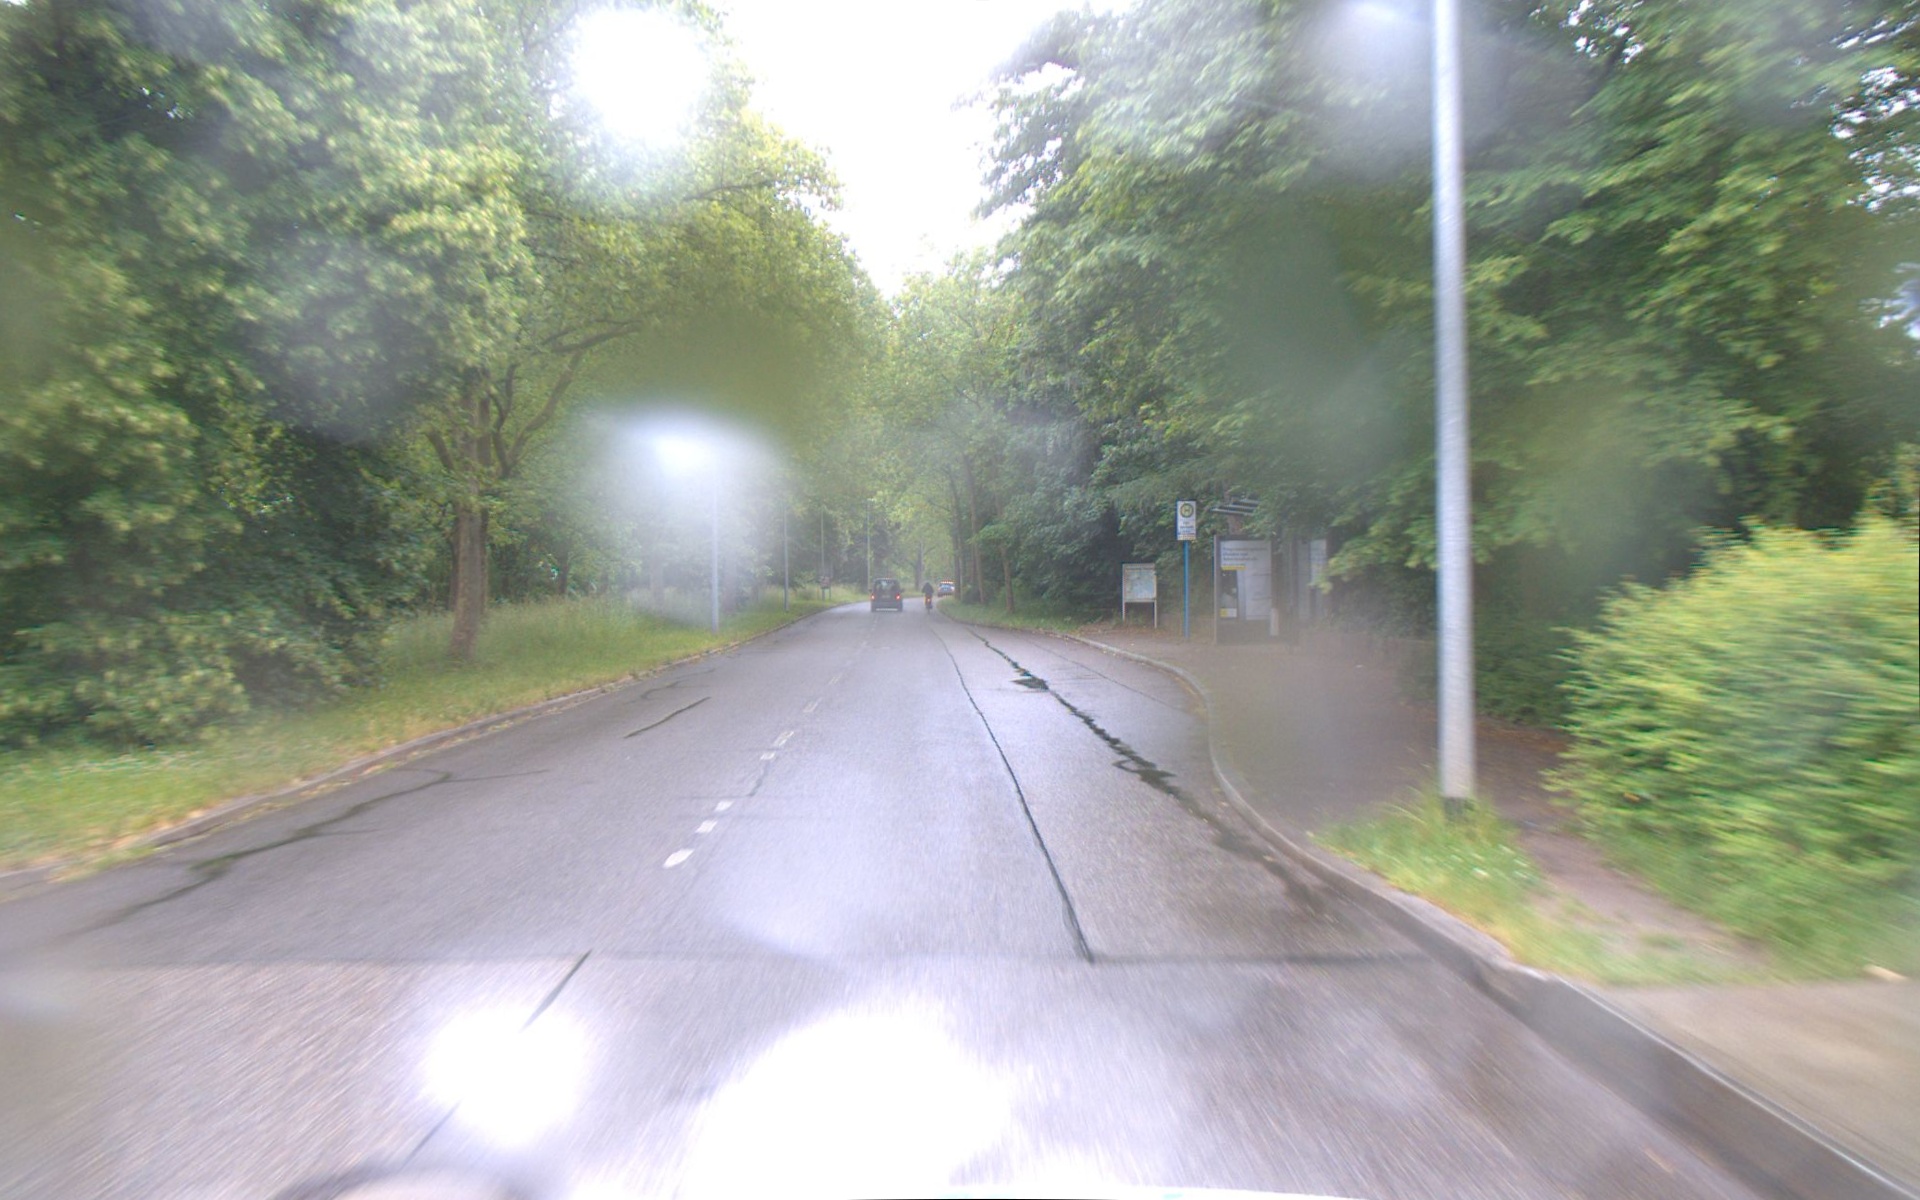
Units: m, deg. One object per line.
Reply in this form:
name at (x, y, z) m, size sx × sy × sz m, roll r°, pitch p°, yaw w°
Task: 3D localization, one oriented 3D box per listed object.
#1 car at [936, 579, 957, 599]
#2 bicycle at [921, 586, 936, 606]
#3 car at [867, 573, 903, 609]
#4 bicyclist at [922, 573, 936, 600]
car at (-1.359, -1.090, 162.042) m, size 1.953 × 1.847 × 3.999 m, roll 1°, pitch 0°, yaw -2°
bicycle at (-1.665, -0.226, 88.818) m, size 0.714 × 0.991 × 2.173 m, roll 1°, pitch 1°, yaw 1°
car at (-4.289, -0.527, 93.789) m, size 1.946 × 1.959 × 3.997 m, roll 0°, pitch 1°, yaw -4°
bicyclist at (-1.657, -0.753, 88.785) m, size 0.715 × 1.435 × 0.973 m, roll 1°, pitch 1°, yaw 1°
